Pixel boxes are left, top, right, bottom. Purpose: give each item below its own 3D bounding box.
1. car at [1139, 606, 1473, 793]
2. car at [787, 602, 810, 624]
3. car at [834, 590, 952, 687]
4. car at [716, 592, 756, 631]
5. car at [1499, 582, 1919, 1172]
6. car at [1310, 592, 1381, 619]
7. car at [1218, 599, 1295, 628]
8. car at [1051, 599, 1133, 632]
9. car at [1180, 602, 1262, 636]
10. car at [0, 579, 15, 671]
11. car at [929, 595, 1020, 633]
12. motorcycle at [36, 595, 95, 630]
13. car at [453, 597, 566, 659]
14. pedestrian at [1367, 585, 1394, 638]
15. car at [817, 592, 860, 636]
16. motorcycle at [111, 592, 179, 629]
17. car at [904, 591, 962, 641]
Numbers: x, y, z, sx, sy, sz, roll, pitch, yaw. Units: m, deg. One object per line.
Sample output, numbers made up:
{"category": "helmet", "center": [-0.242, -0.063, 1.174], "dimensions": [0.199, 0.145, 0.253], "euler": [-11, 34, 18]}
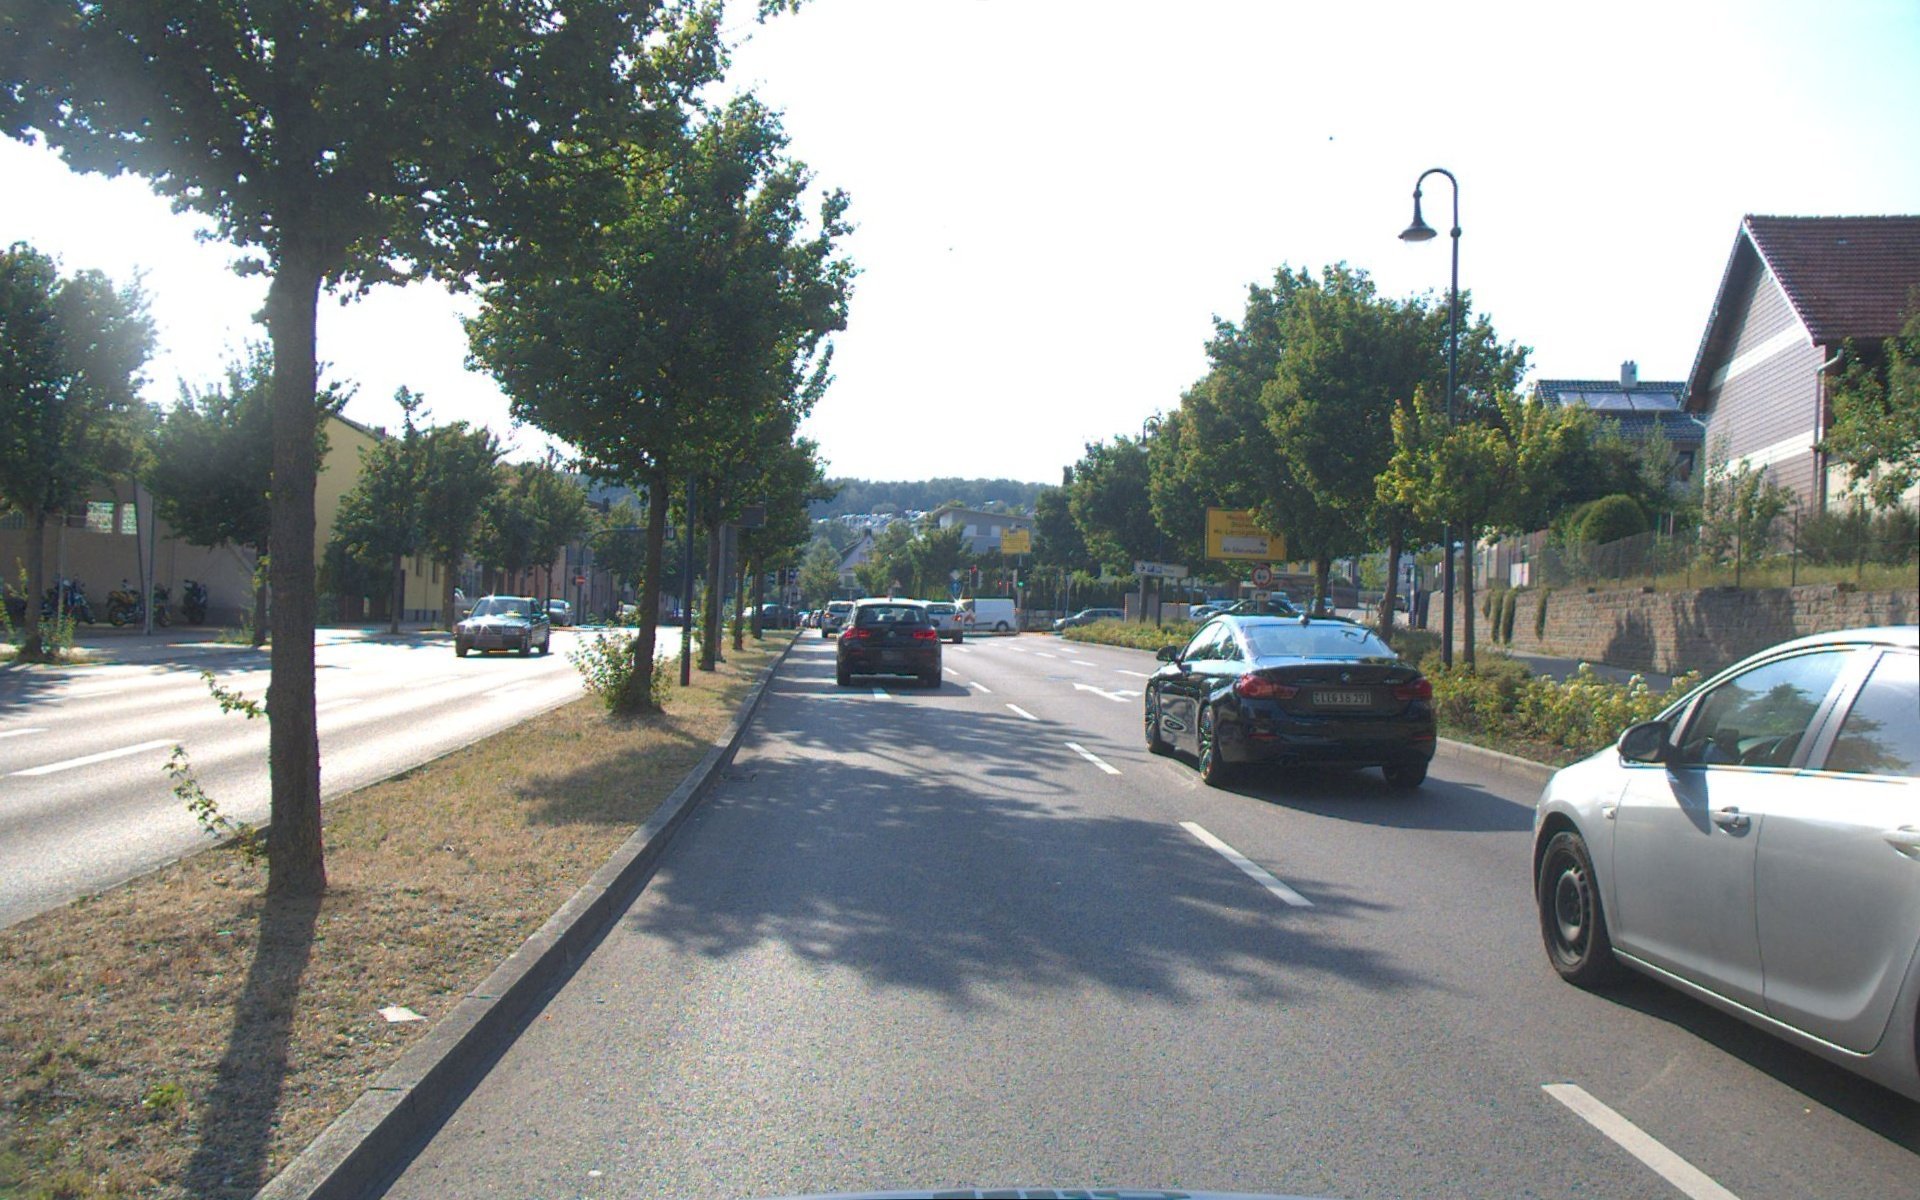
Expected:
{"category": "car", "center": [2.847, 0.760, 14.634], "dimensions": [1.882, 1.388, 4.350], "euler": [0, 0, -2]}
{"category": "car", "center": [-15.010, 1.196, 153.938], "dimensions": [1.736, 2.049, 3.999], "euler": [1, 0, -1]}
{"category": "car", "center": [-1.093, 0.612, 28.805], "dimensions": [1.685, 1.516, 4.354], "euler": [1, 0, 2]}
{"category": "car", "center": [-12.269, 0.621, 90.791], "dimensions": [2.099, 2.044, 5.116], "euler": [1, 0, -8]}
{"category": "car", "center": [3.307, 0.710, 5.290], "dimensions": [1.686, 1.516, 4.305], "euler": [0, 1, -1]}
{"category": "car", "center": [27.210, 0.395, 116.820], "dimensions": [4.543, 1.861, 1.997], "euler": [1, 0, -8]}
{"category": "car", "center": [19.293, 0.868, 107.562], "dimensions": [4.543, 1.861, 1.997], "euler": [1, 0, -8]}
{"category": "car", "center": [8.212, 0.951, 103.067], "dimensions": [4.849, 1.963, 2.145], "euler": [1, 0, -3]}
{"category": "car", "center": [15.749, 1.127, 99.851], "dimensions": [4.462, 1.963, 2.137], "euler": [1, 0, -16]}
{"category": "car", "center": [-16.311, 0.349, 25.080], "dimensions": [1.722, 1.479, 4.129], "euler": [5, 0, -5]}
{"category": "car", "center": [0.835, 0.800, 96.984], "dimensions": [5.020, 2.167, 2.139], "euler": [1, 0, -13]}
{"category": "motorcycle", "center": [-26.625, 0.354, 49.262], "dimensions": [0.505, 1.022, 1.541], "euler": [0, 0, 25]}
{"category": "car", "center": [-10.717, 0.626, 39.642], "dimensions": [1.721, 1.385, 4.482], "euler": [1, 0, -3]}
{"category": "pedestrian", "center": [14.009, 0.378, 55.093], "dimensions": [0.681, 1.732, 0.950], "euler": [1, 0, 3]}
{"category": "car", "center": [-5.138, 0.568, 69.772], "dimensions": [1.722, 1.800, 3.966], "euler": [1, 0, -5]}
{"category": "motorcycle", "center": [-24.416, 0.311, 49.567], "dimensions": [0.506, 1.088, 1.866], "euler": [0, 0, 31]}
{"category": "car", "center": [-1.058, 0.581, 62.534], "dimensions": [1.888, 1.800, 4.449], "euler": [1, 0, -5]}
